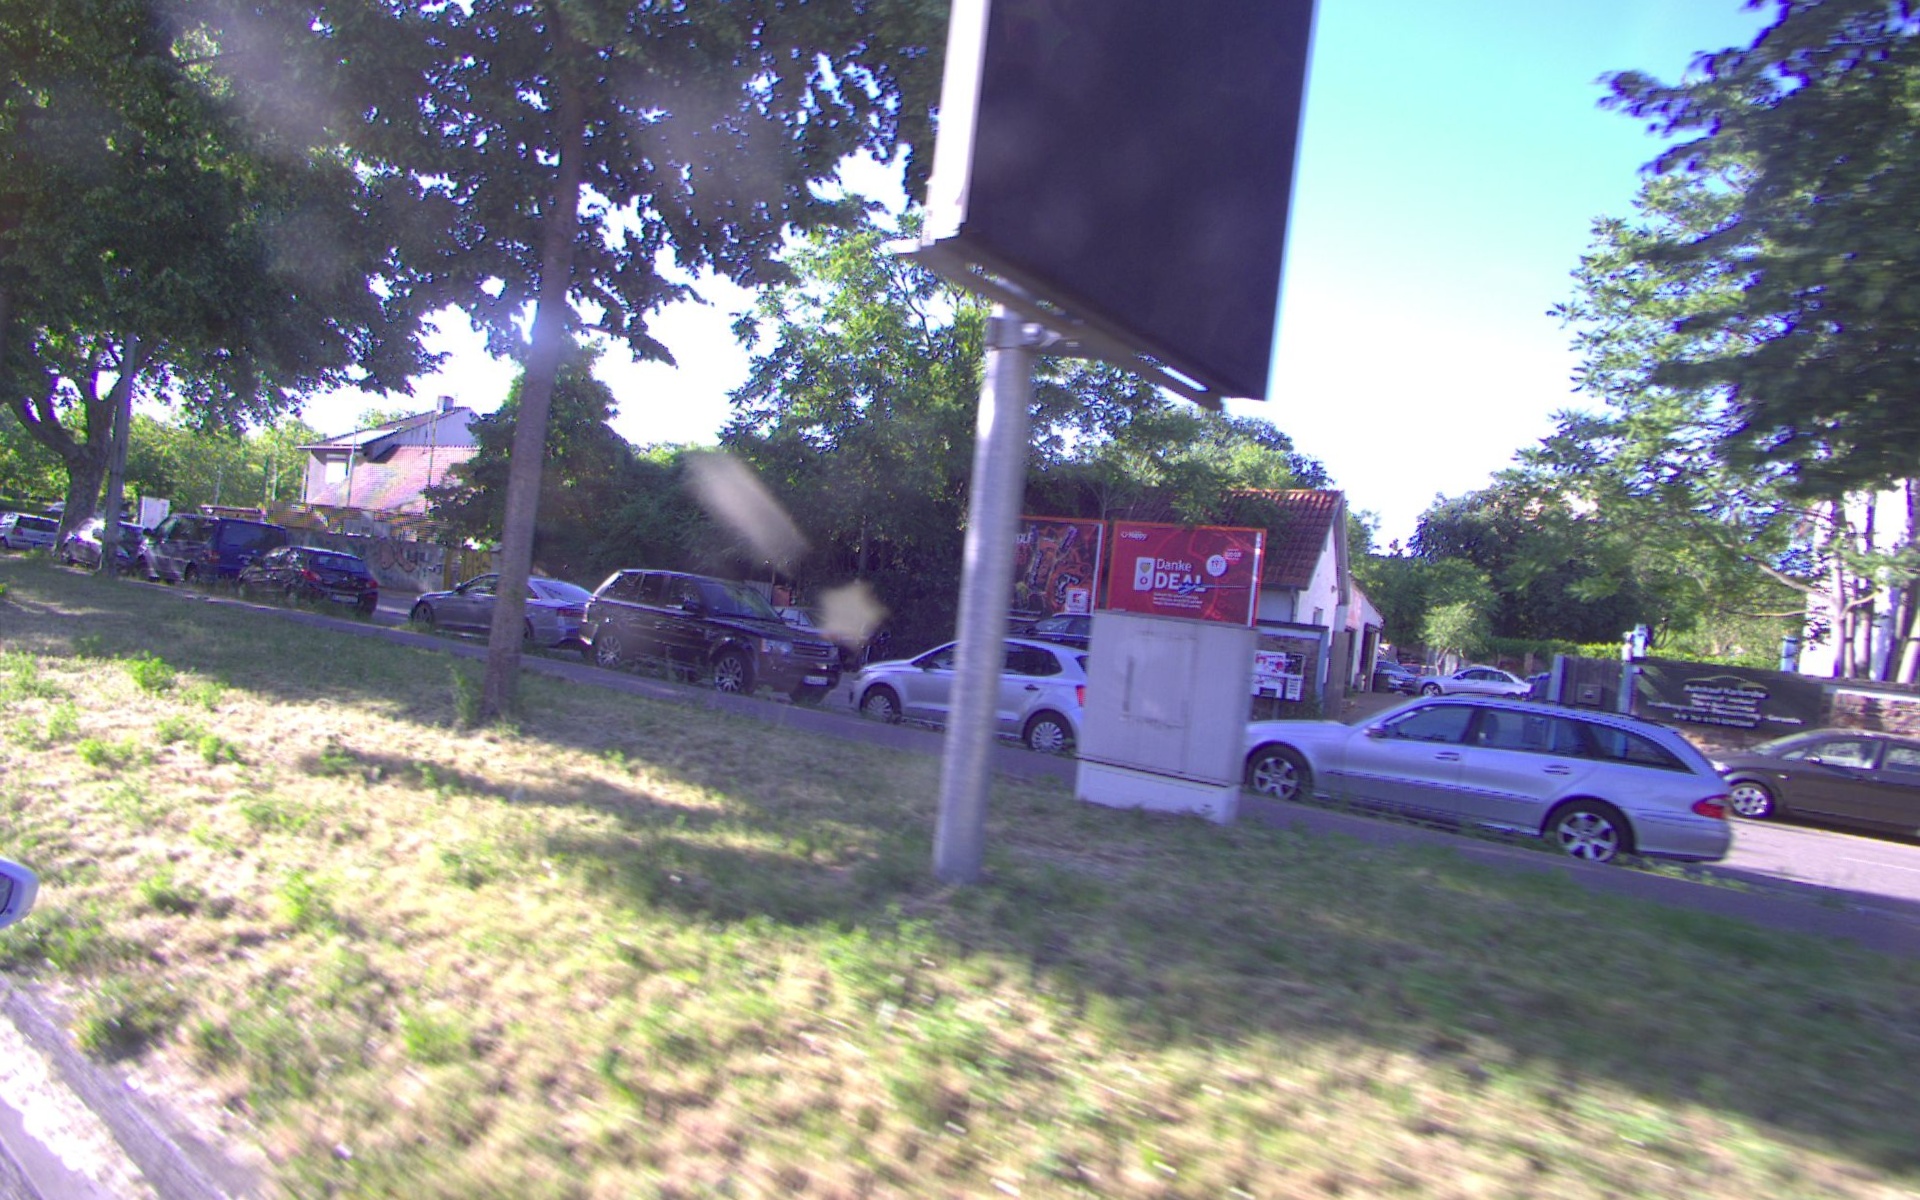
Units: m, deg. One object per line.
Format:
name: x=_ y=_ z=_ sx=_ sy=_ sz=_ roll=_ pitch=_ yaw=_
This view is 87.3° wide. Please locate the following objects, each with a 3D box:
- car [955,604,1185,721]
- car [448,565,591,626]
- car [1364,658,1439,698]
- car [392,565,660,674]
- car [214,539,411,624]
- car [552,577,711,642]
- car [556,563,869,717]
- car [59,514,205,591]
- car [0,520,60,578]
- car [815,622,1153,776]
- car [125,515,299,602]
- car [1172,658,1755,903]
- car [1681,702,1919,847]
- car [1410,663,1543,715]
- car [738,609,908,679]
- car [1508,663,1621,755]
car: x=2.427 y=1.322 z=22.501 sx=4.611 sy=2.028 sz=1.873 roll=5 pitch=1 yaw=29
car: x=-14.574 y=-0.149 z=33.242 sx=4.611 sy=1.566 sz=1.873 roll=5 pitch=0 yaw=29
car: x=18.839 y=3.326 z=43.072 sx=1.868 sy=1.436 sz=4.007 roll=6 pitch=-3 yaw=10
car: x=-8.157 y=0.341 z=18.823 sx=4.817 sy=1.450 sz=1.877 roll=5 pitch=-3 yaw=28
car: x=-14.359 y=-0.408 z=22.287 sx=3.931 sy=1.383 sz=1.877 roll=5 pitch=-3 yaw=28
car: x=-9.966 y=0.281 z=30.452 sx=4.611 sy=1.502 sz=1.873 roll=5 pitch=1 yaw=29
car: x=-3.990 y=0.591 z=15.905 sx=4.814 sy=1.841 sz=1.874 roll=5 pitch=-3 yaw=33
car: x=-23.316 y=-1.340 z=28.299 sx=3.934 sy=1.703 sz=1.875 roll=5 pitch=-3 yaw=32
car: x=-31.765 y=-1.784 z=33.057 sx=3.930 sy=1.705 sz=1.875 roll=5 pitch=0 yaw=27
car: x=0.305 y=1.249 z=13.284 sx=3.931 sy=1.405 sz=1.877 roll=5 pitch=-3 yaw=28
car: x=-18.815 y=-1.041 z=25.297 sx=3.931 sy=1.703 sz=1.877 roll=5 pitch=-3 yaw=28
car: x=5.000 y=1.697 z=10.610 sx=4.972 sy=1.541 sz=1.875 roll=5 pitch=-3 yaw=31
car: x=13.843 y=2.716 z=15.625 sx=3.932 sy=1.661 sz=1.995 roll=5 pitch=1 yaw=29
car: x=19.706 y=3.407 z=38.503 sx=4.336 sy=1.436 sz=1.903 roll=5 pitch=-3 yaw=29
car: x=-3.651 y=1.121 z=26.512 sx=4.243 sy=1.389 sz=1.731 roll=5 pitch=1 yaw=32
car: x=14.501 y=2.531 z=24.342 sx=1.871 sy=1.766 sz=3.994 roll=6 pitch=0 yaw=26
